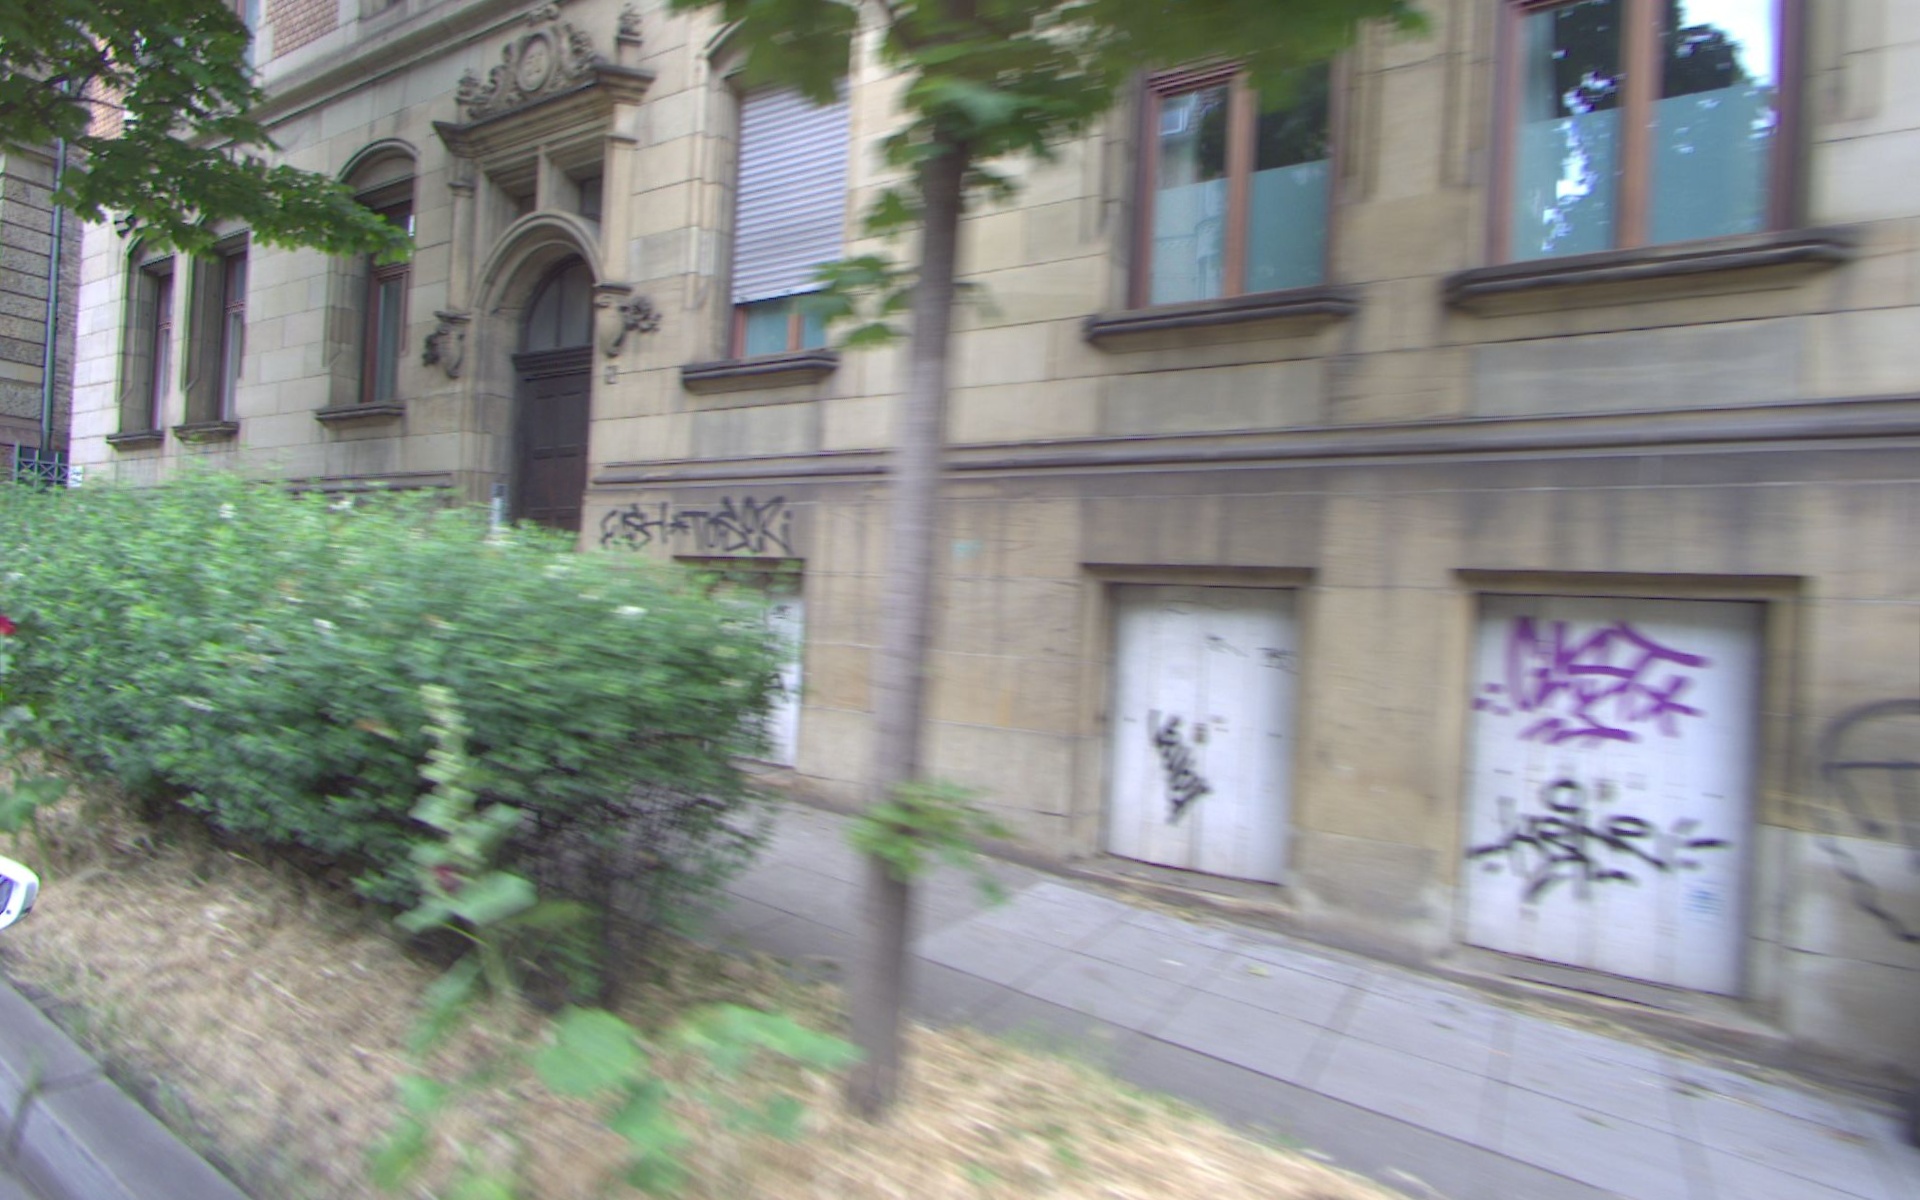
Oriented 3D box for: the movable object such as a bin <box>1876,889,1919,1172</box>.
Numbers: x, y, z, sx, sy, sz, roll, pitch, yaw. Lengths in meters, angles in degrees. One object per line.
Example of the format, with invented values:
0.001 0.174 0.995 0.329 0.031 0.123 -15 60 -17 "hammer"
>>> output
3.112 1.183 2.785 0.572 1.030 0.671 9 4 29 "movable object such as a bin"
